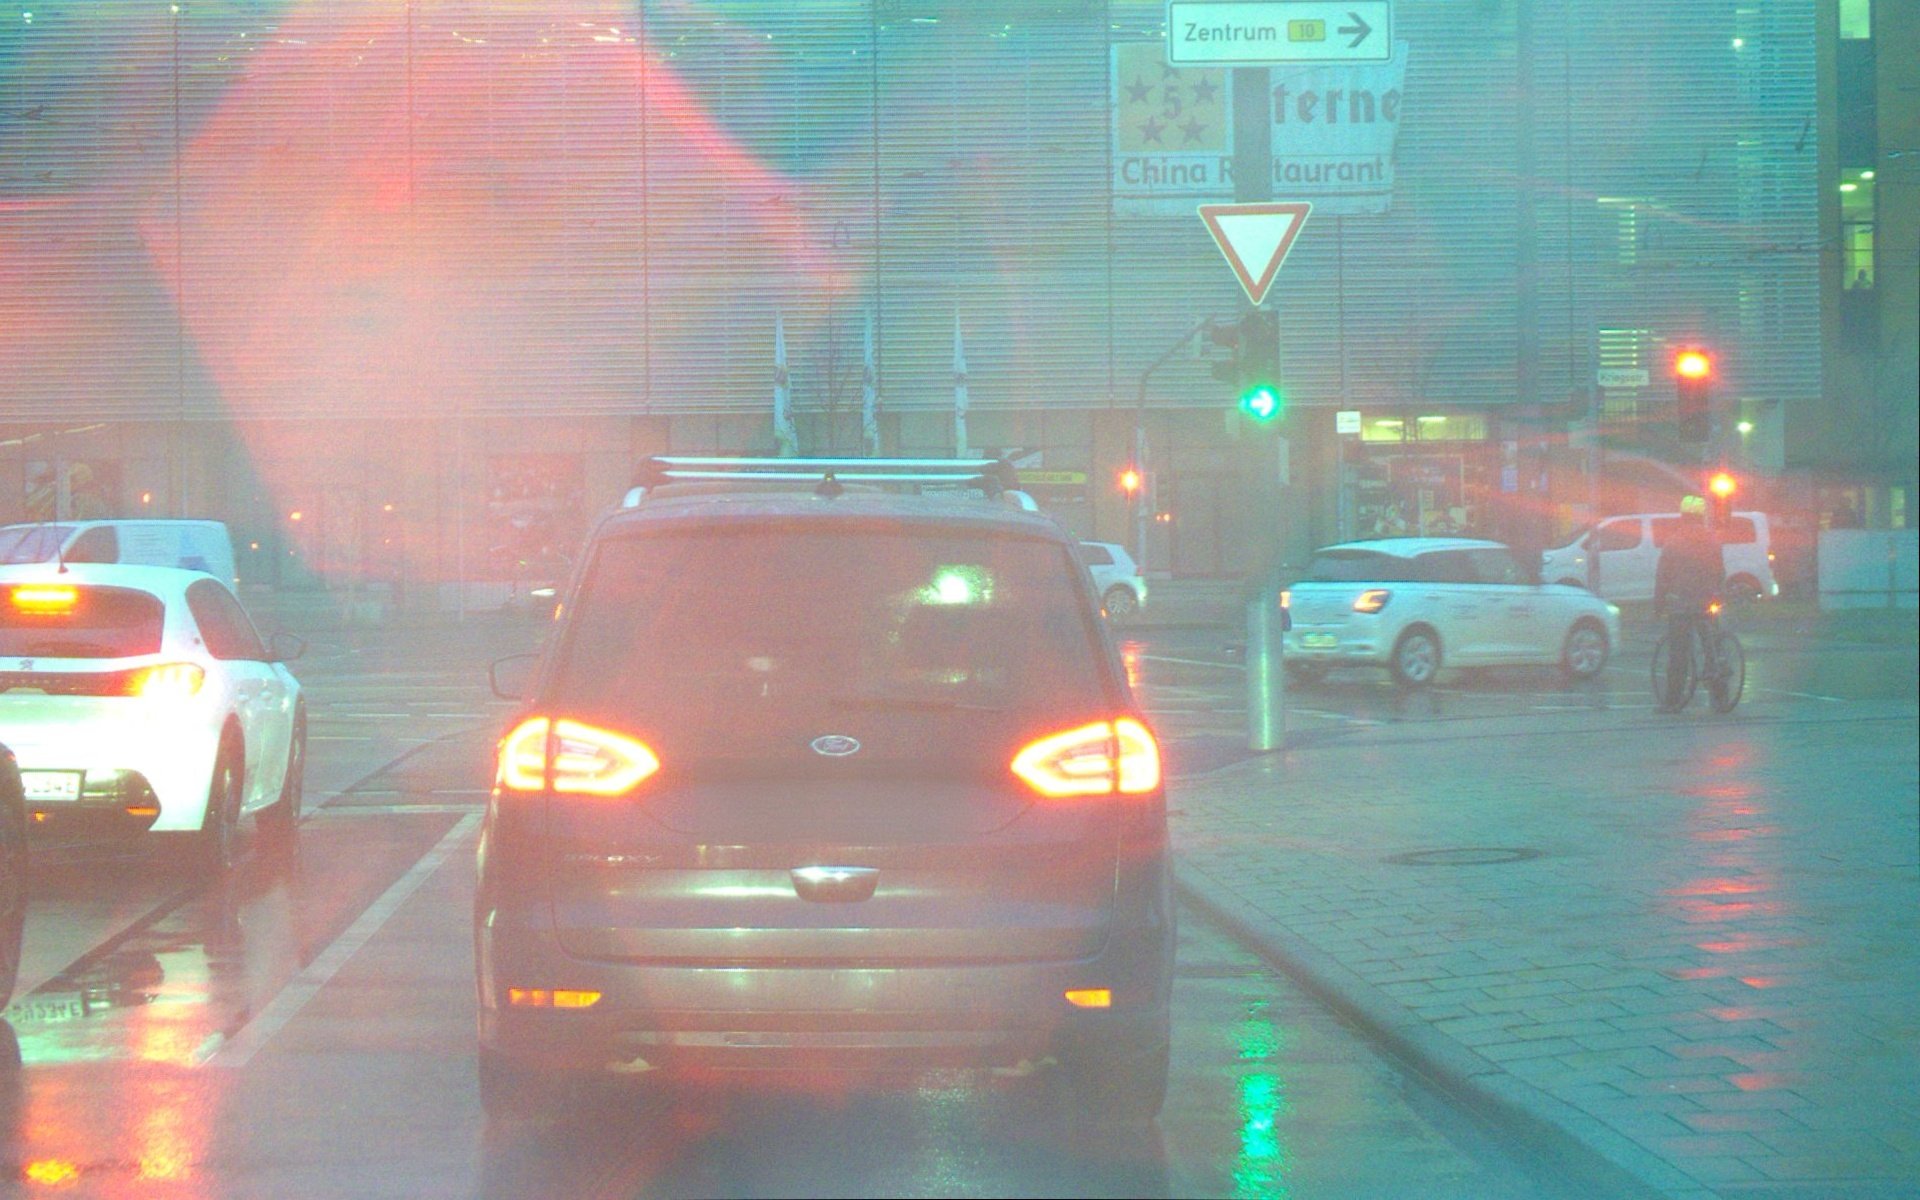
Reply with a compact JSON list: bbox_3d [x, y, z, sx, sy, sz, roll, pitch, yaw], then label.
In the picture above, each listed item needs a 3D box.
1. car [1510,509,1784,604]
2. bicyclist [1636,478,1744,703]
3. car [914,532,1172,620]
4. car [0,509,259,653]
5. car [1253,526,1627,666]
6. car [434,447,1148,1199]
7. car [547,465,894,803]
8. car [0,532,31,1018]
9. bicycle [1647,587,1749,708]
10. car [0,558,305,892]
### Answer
[{"bbox_3d":[12.683,-0.808,63.617,4.636,1.671,1.787,-1,1,-6],"label":"car"},{"bbox_3d":[6.223,-0.085,29.354,0.791,1.884,0.989,-1,1,6],"label":"bicyclist"},{"bbox_3d":[1.509,-0.445,61.743,4.327,1.481,1.866,-1,1,-33],"label":"car"},{"bbox_3d":[-11.924,-0.294,47.081,1.901,1.865,4.956,0,1,26],"label":"car"},{"bbox_3d":[4.965,-0.069,35.381,3.721,1.356,1.644,-1,1,-36],"label":"car"},{"bbox_3d":[-0.412,0.509,10.225,1.674,1.773,4.000,1,1,0],"label":"car"},{"bbox_3d":[-1.427,0.143,20.746,1.843,1.800,4.487,-1,1,-4],"label":"car"},{"bbox_3d":[-3.848,0.597,9.395,1.820,1.565,4.363,-1,1,-6],"label":"car"},{"bbox_3d":[6.302,0.393,29.419,0.655,0.970,1.866,-1,1,6],"label":"bicycle"},{"bbox_3d":[-4.328,0.524,17.012,1.758,1.458,3.918,0,1,-5],"label":"car"}]
